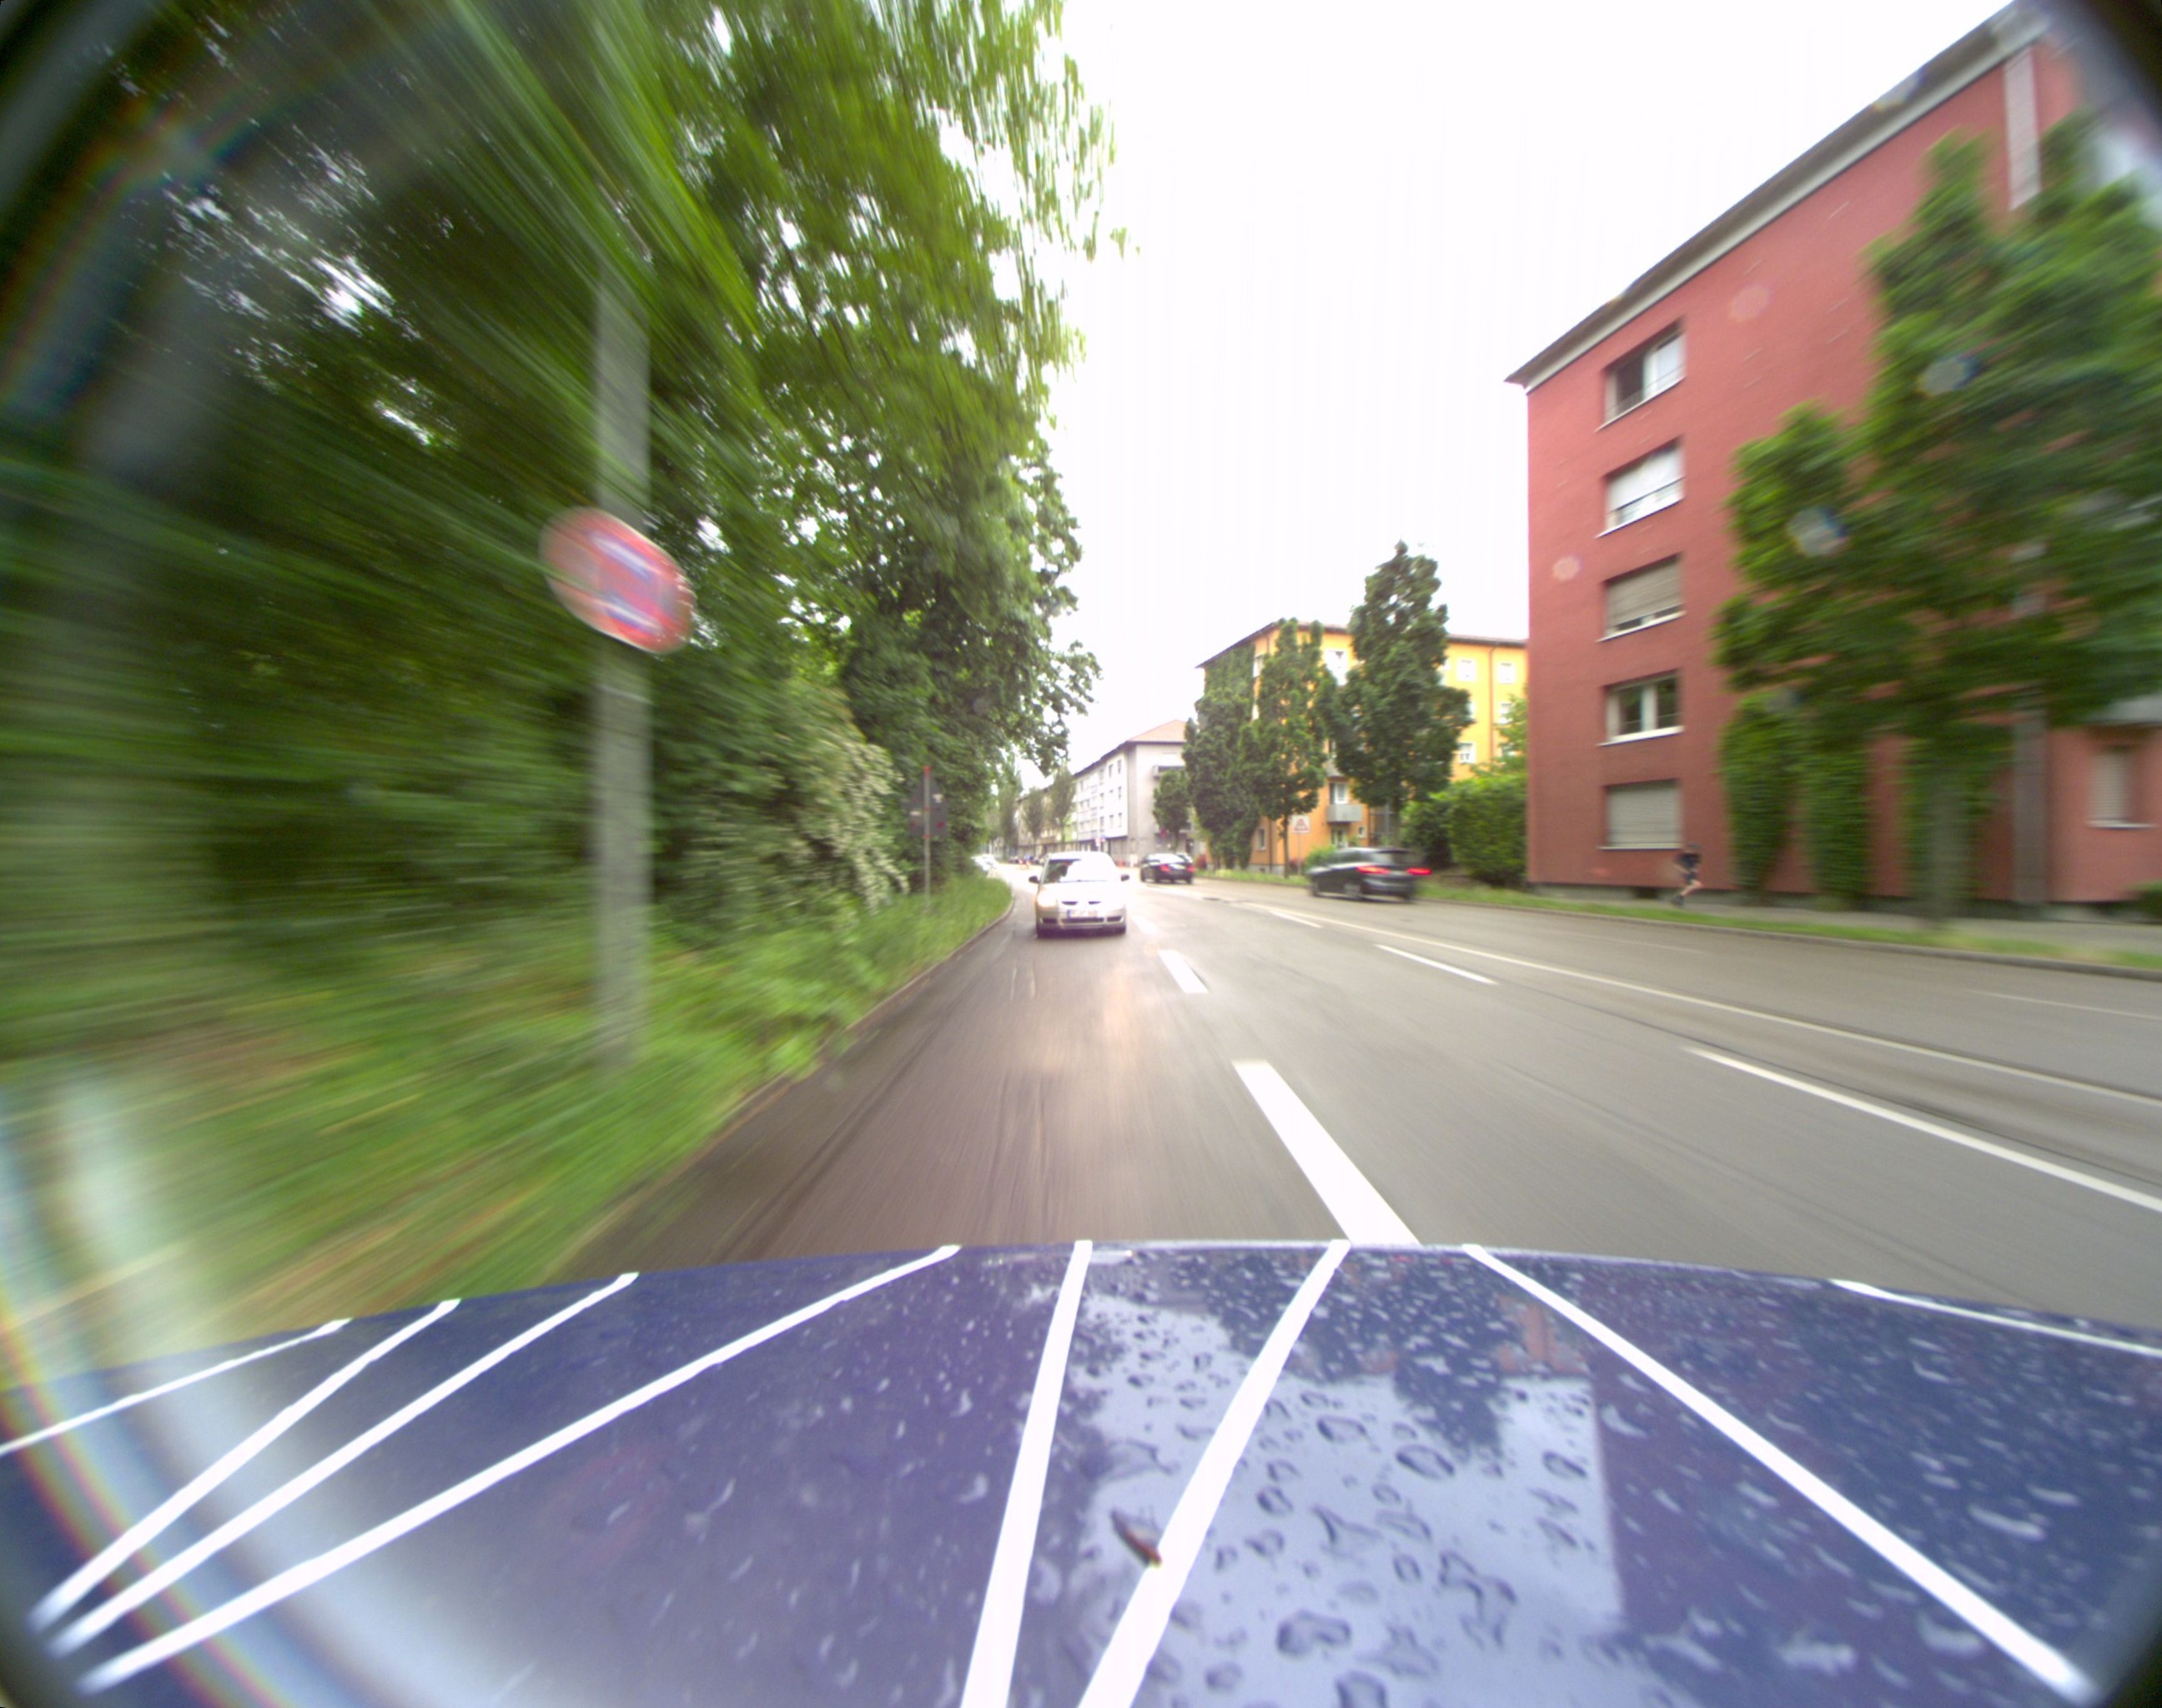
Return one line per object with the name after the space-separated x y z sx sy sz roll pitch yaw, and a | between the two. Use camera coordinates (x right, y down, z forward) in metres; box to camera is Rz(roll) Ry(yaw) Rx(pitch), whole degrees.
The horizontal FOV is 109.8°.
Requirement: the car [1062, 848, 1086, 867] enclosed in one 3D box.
-0.602 0.314 64.205 1.681 1.553 4.139 0 0 -5 | car

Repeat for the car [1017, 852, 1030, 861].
-10.762 0.415 141.119 1.870 1.558 4.168 0 0 -13 | car

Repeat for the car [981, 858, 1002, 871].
-10.757 1.211 91.009 2.001 1.455 3.994 0 0 -15 | car

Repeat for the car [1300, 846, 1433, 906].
8.399 0.601 22.830 1.880 1.593 4.461 1 0 -7 | car

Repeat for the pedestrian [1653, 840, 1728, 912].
13.129 0.456 16.389 0.694 1.508 1.068 0 0 -9 | pedestrian

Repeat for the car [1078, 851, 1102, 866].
1.021 0.447 86.264 1.853 1.536 4.243 -3 1 -10 | car

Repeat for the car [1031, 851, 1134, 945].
-0.005 0.768 15.314 1.755 1.586 4.168 -2 0 -1 | car

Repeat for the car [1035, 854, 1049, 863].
-6.233 0.770 120.611 1.549 1.338 4.247 1 0 -14 | car

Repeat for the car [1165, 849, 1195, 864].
10.011 0.246 77.072 1.736 1.516 4.224 0 0 -11 | car

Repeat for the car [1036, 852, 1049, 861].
-5.898 0.343 115.710 1.549 1.369 3.444 0 -1 -12 | car

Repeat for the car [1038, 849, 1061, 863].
-3.895 0.234 92.677 1.929 1.621 4.495 1 0 -14 | car

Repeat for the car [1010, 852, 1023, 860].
-12.543 0.390 147.167 1.870 1.591 4.168 0 0 -13 | car

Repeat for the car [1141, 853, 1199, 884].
4.178 0.635 36.193 1.847 1.377 4.357 1 0 -6 | car

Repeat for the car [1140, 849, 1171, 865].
7.432 0.292 76.451 1.857 1.477 4.629 -3 1 -11 | car

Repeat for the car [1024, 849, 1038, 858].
-8.700 -0.160 132.409 1.870 1.504 3.995 -1 0 -13 | car
